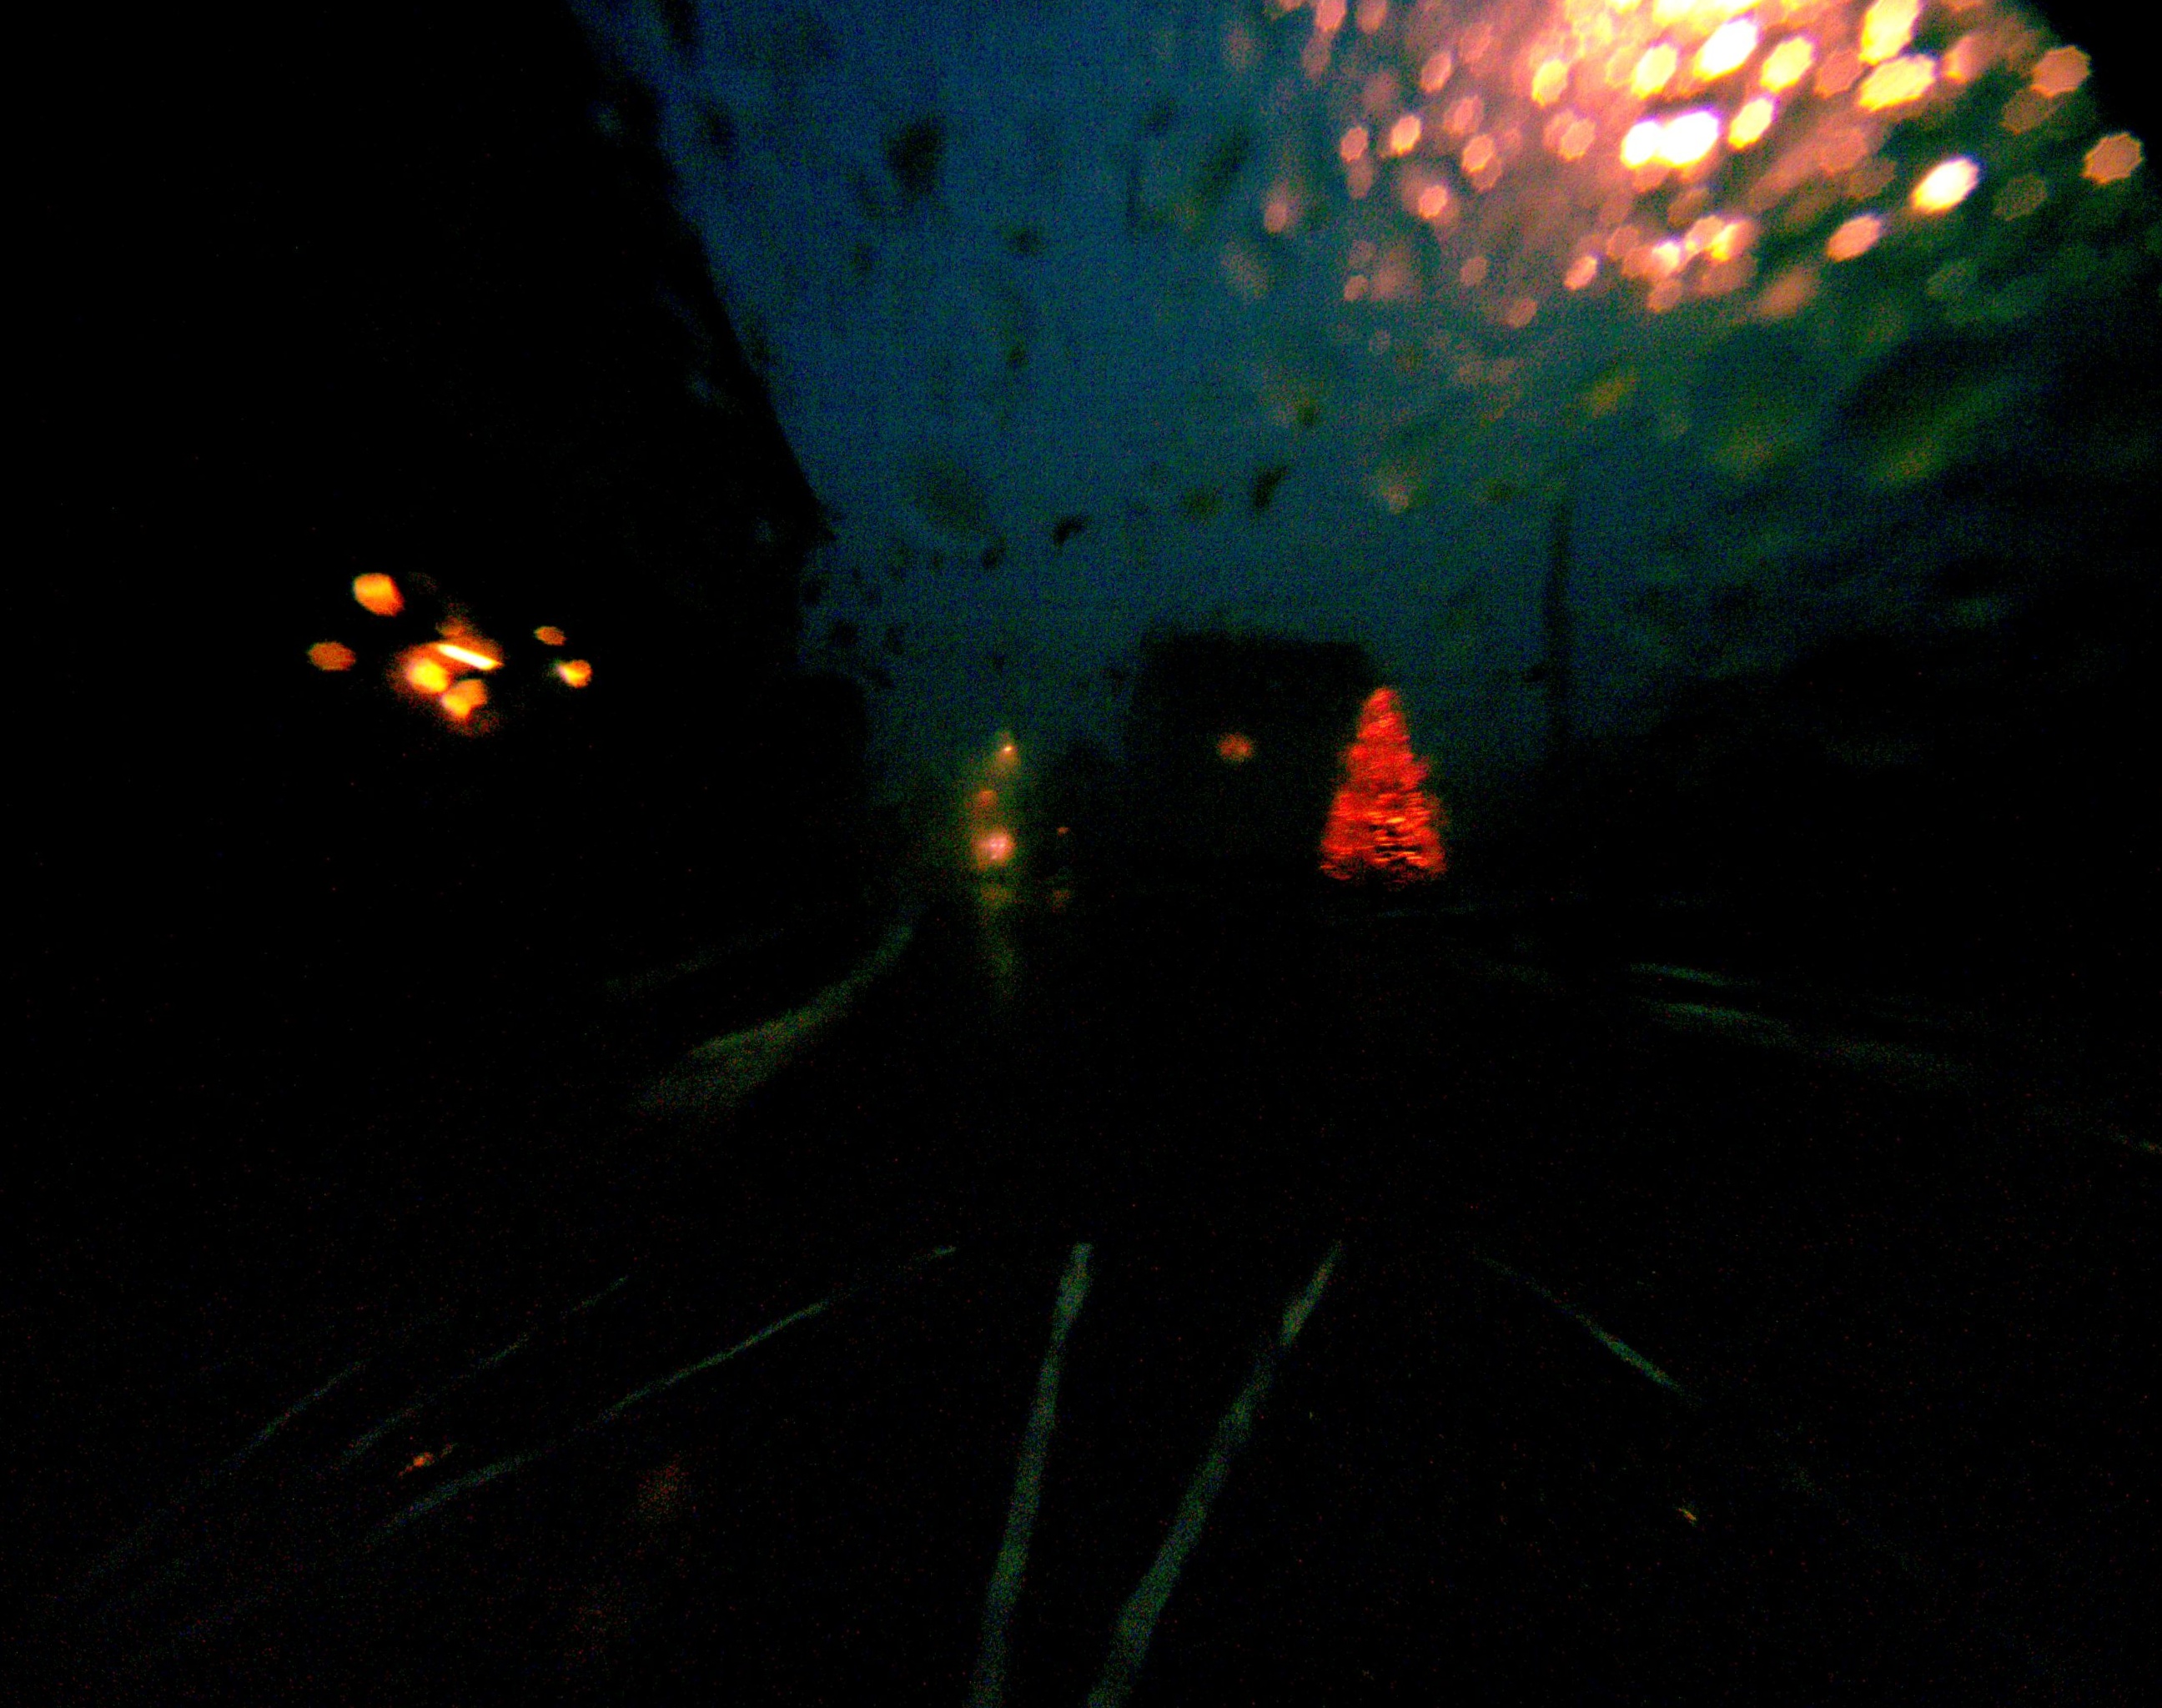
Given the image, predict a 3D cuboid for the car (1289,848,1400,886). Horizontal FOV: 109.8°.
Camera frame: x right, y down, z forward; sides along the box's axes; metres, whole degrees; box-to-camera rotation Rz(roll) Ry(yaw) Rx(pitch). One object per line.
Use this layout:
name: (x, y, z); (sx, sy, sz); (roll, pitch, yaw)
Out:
car: (10.330, 0.492, 29.857); (3.788, 1.365, 1.624); (-1, 1, -9)

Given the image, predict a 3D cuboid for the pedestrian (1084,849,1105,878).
pedestrian: (0.614, 0.425, 34.970); (0.811, 1.322, 0.659); (-1, 1, -13)
